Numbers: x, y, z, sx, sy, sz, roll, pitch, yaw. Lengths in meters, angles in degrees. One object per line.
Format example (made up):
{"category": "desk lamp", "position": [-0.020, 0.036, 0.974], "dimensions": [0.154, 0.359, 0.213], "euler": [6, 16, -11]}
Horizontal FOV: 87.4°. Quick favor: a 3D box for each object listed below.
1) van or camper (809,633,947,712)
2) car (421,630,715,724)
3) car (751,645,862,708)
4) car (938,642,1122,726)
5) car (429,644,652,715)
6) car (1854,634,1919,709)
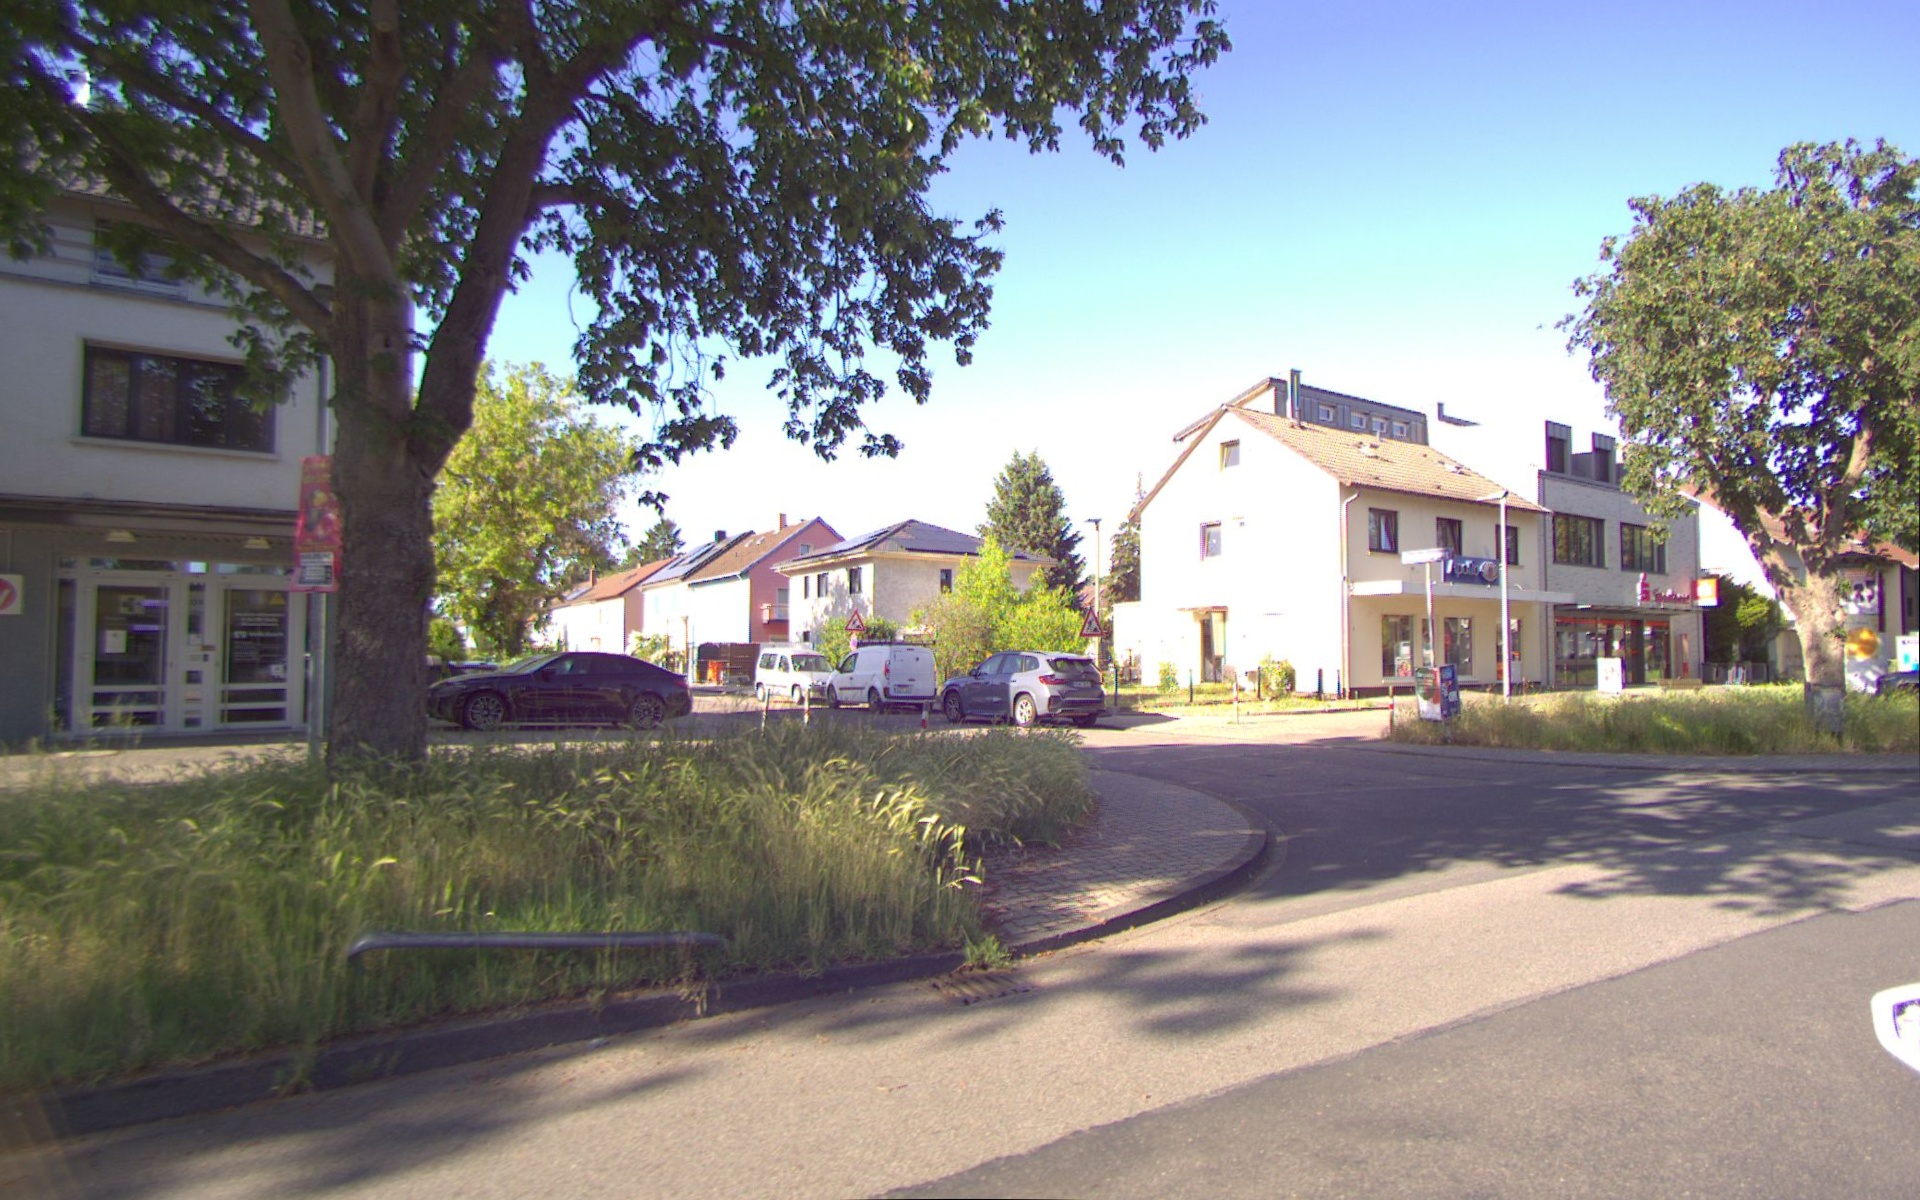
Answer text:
{"category": "van or camper", "position": [-2.405, 2.014, 28.442], "dimensions": [1.978, 2.040, 4.647], "euler": [2, -4, -32]}
{"category": "car", "position": [-7.410, 1.514, 19.223], "dimensions": [4.862, 1.583, 1.981], "euler": [5, -5, -35]}
{"category": "car", "position": [-5.004, 2.403, 32.344], "dimensions": [1.980, 1.854, 3.962], "euler": [2, -2, -34]}
{"category": "car", "position": [1.446, 1.814, 22.151], "dimensions": [1.981, 1.659, 3.961], "euler": [3, -5, -36]}
{"category": "car", "position": [-10.025, 1.944, 24.190], "dimensions": [4.624, 1.547, 1.860], "euler": [5, -5, -35]}
{"category": "car", "position": [24.436, 1.799, 23.409], "dimensions": [1.979, 1.751, 5.030], "euler": [3, 0, -33]}
